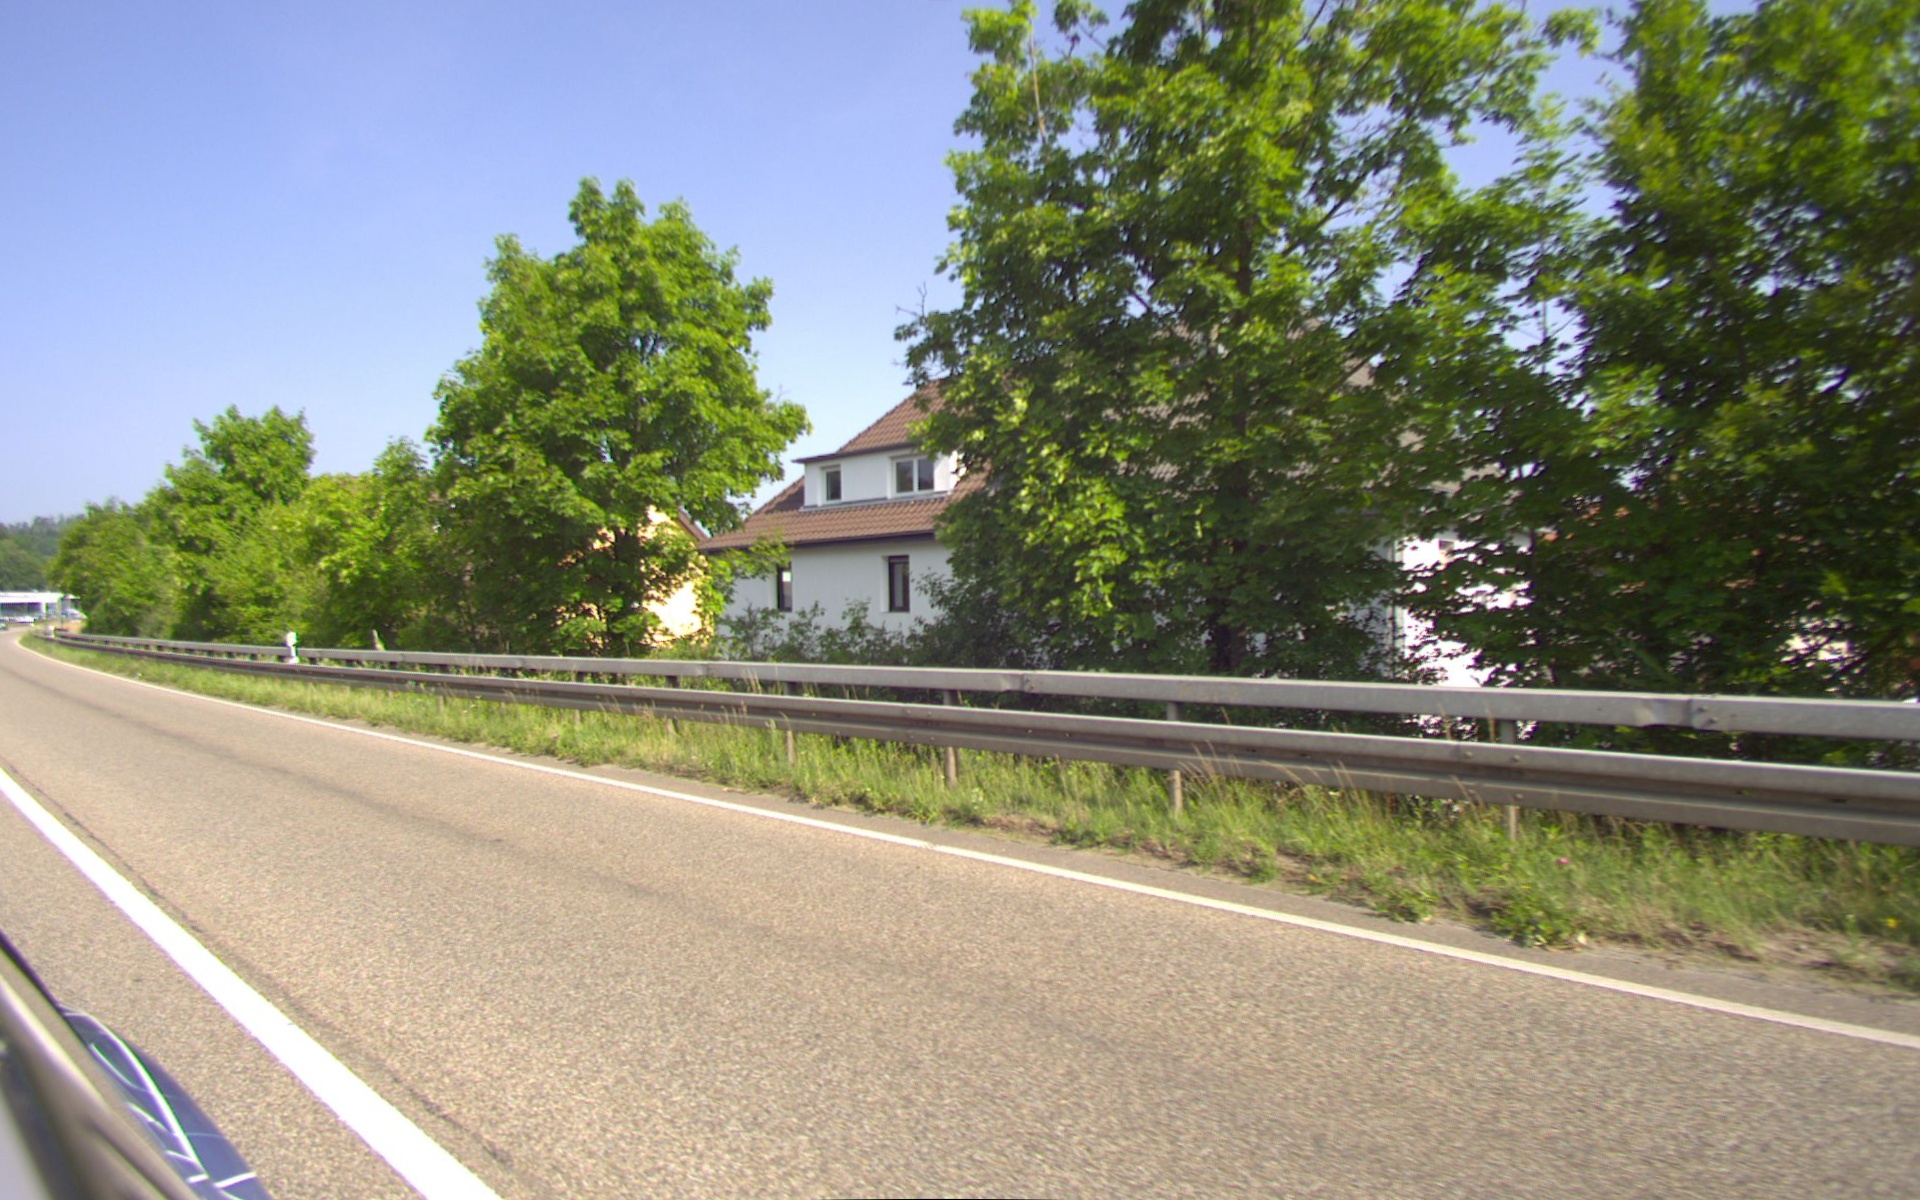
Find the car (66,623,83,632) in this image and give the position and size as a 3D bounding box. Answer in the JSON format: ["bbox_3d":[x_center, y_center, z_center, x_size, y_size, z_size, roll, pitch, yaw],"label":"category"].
[{"bbox_3d":[-137.304,4.268,156.903,1.737,1.421,3.993,2,-2,-43],"label":"car"}]
